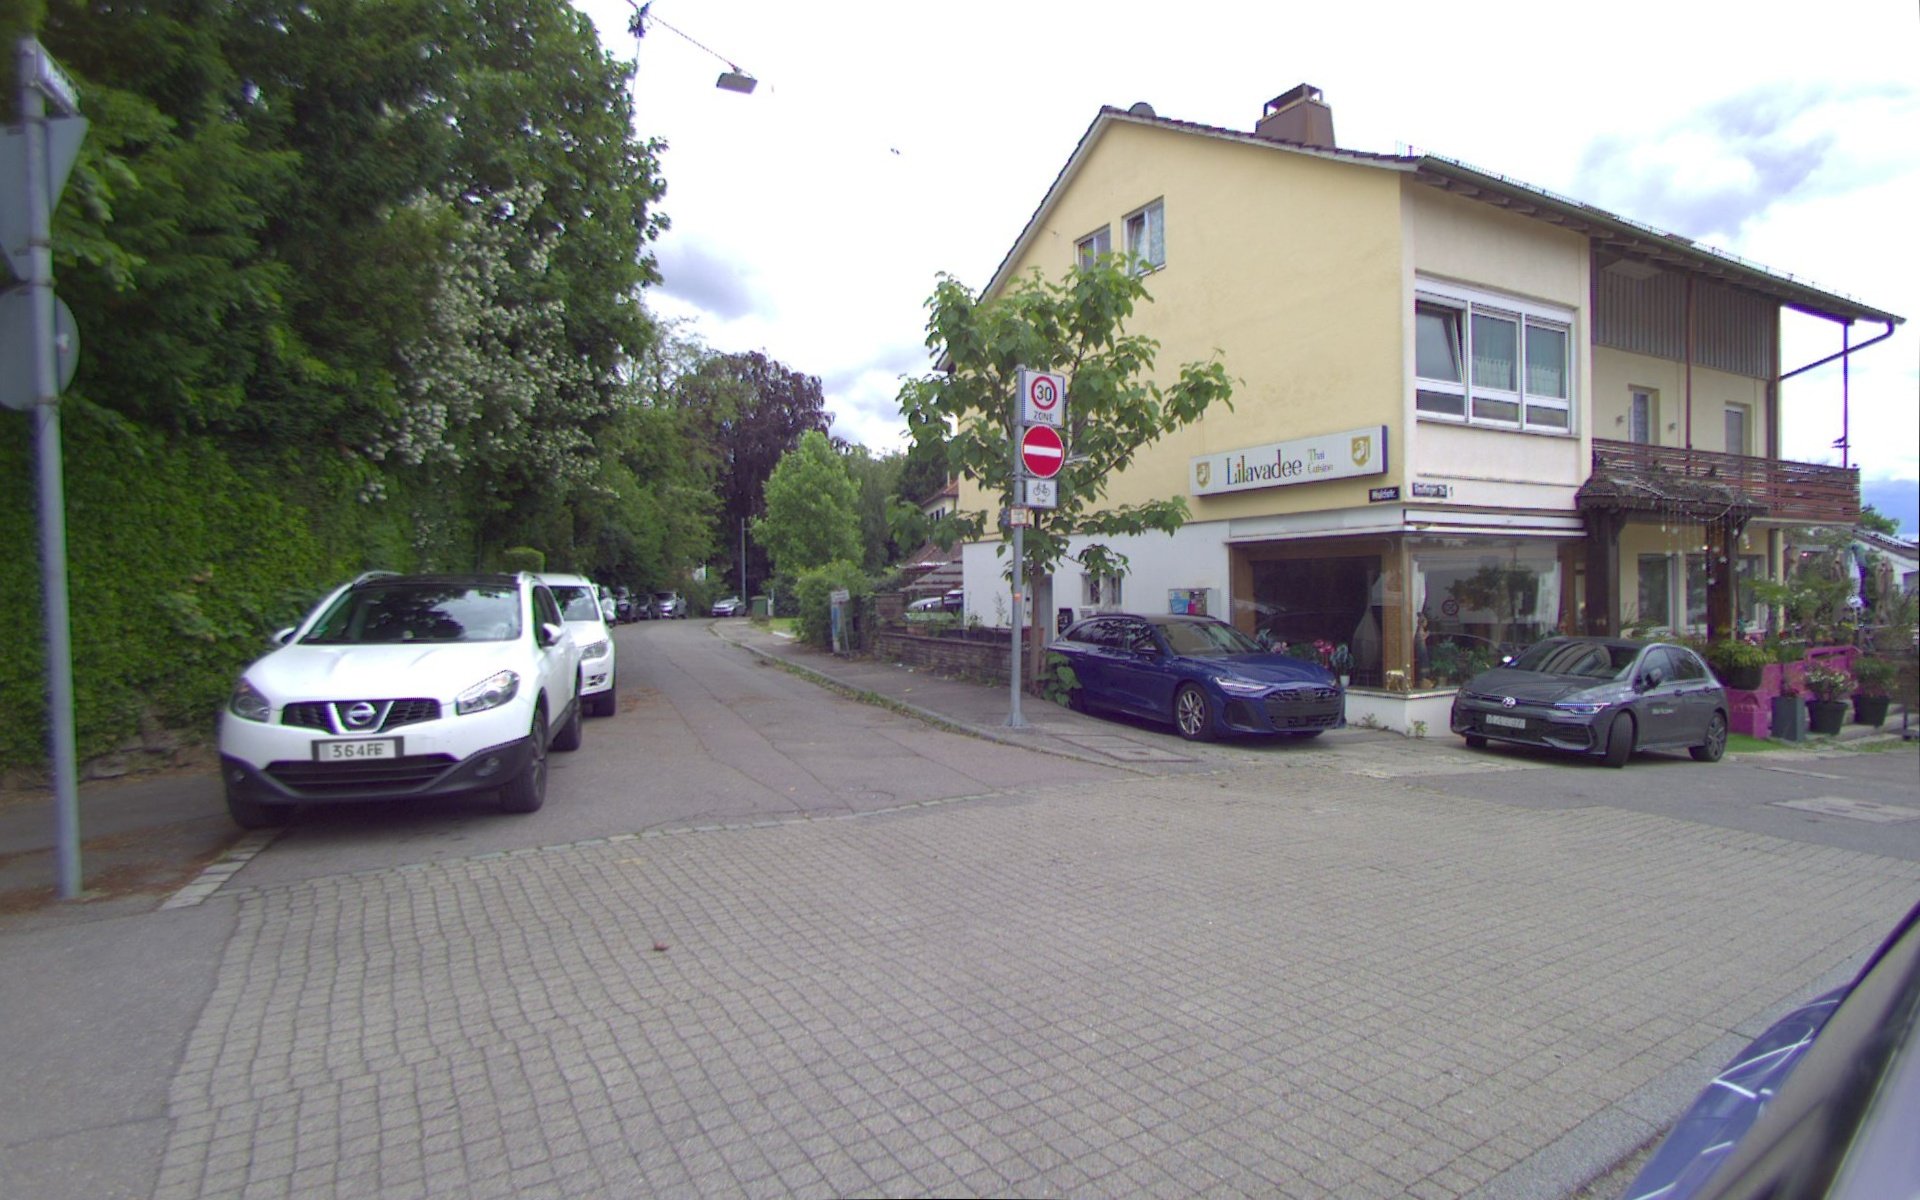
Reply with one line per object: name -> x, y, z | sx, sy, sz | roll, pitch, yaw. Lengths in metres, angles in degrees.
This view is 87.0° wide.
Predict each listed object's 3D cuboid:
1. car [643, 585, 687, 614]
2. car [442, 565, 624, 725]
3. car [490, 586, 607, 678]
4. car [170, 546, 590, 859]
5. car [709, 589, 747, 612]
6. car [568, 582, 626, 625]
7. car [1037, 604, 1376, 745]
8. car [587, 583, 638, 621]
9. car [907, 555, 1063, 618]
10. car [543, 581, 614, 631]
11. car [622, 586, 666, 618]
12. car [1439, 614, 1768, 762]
car -> -16.246, -0.041, 55.799 | 1.543, 1.502, 3.476 | 0, 1, -3
car -> -5.180, 0.435, 12.614 | 1.761, 1.643, 4.080 | -1, 1, -20
car -> -7.422, 0.481, 18.505 | 1.761, 1.441, 4.080 | -1, 1, -20
car -> -3.870, 0.509, 7.559 | 1.761, 1.643, 4.144 | -1, 1, -16
car -> -16.354, 0.028, 71.461 | 1.547, 1.502, 3.468 | 0, 1, 7
car -> -13.428, 0.104, 37.550 | 1.542, 1.502, 3.481 | -1, 1, -11
car -> 2.911, 0.828, 13.215 | 1.761, 1.405, 4.758 | 2, 0, -23
car -> -14.212, 0.046, 41.530 | 1.542, 1.502, 3.481 | -1, 1, -11
car -> 0.740, -0.372, 30.244 | 4.235, 1.480, 1.802 | 4, -2, -19
car -> -12.221, 0.139, 32.596 | 1.542, 1.502, 3.745 | -1, 1, -11
car -> -15.922, 0.075, 51.116 | 1.542, 1.502, 3.479 | -1, 1, -8
car -> 7.940, 1.065, 12.377 | 4.242, 1.480, 1.800 | 5, -2, -34
